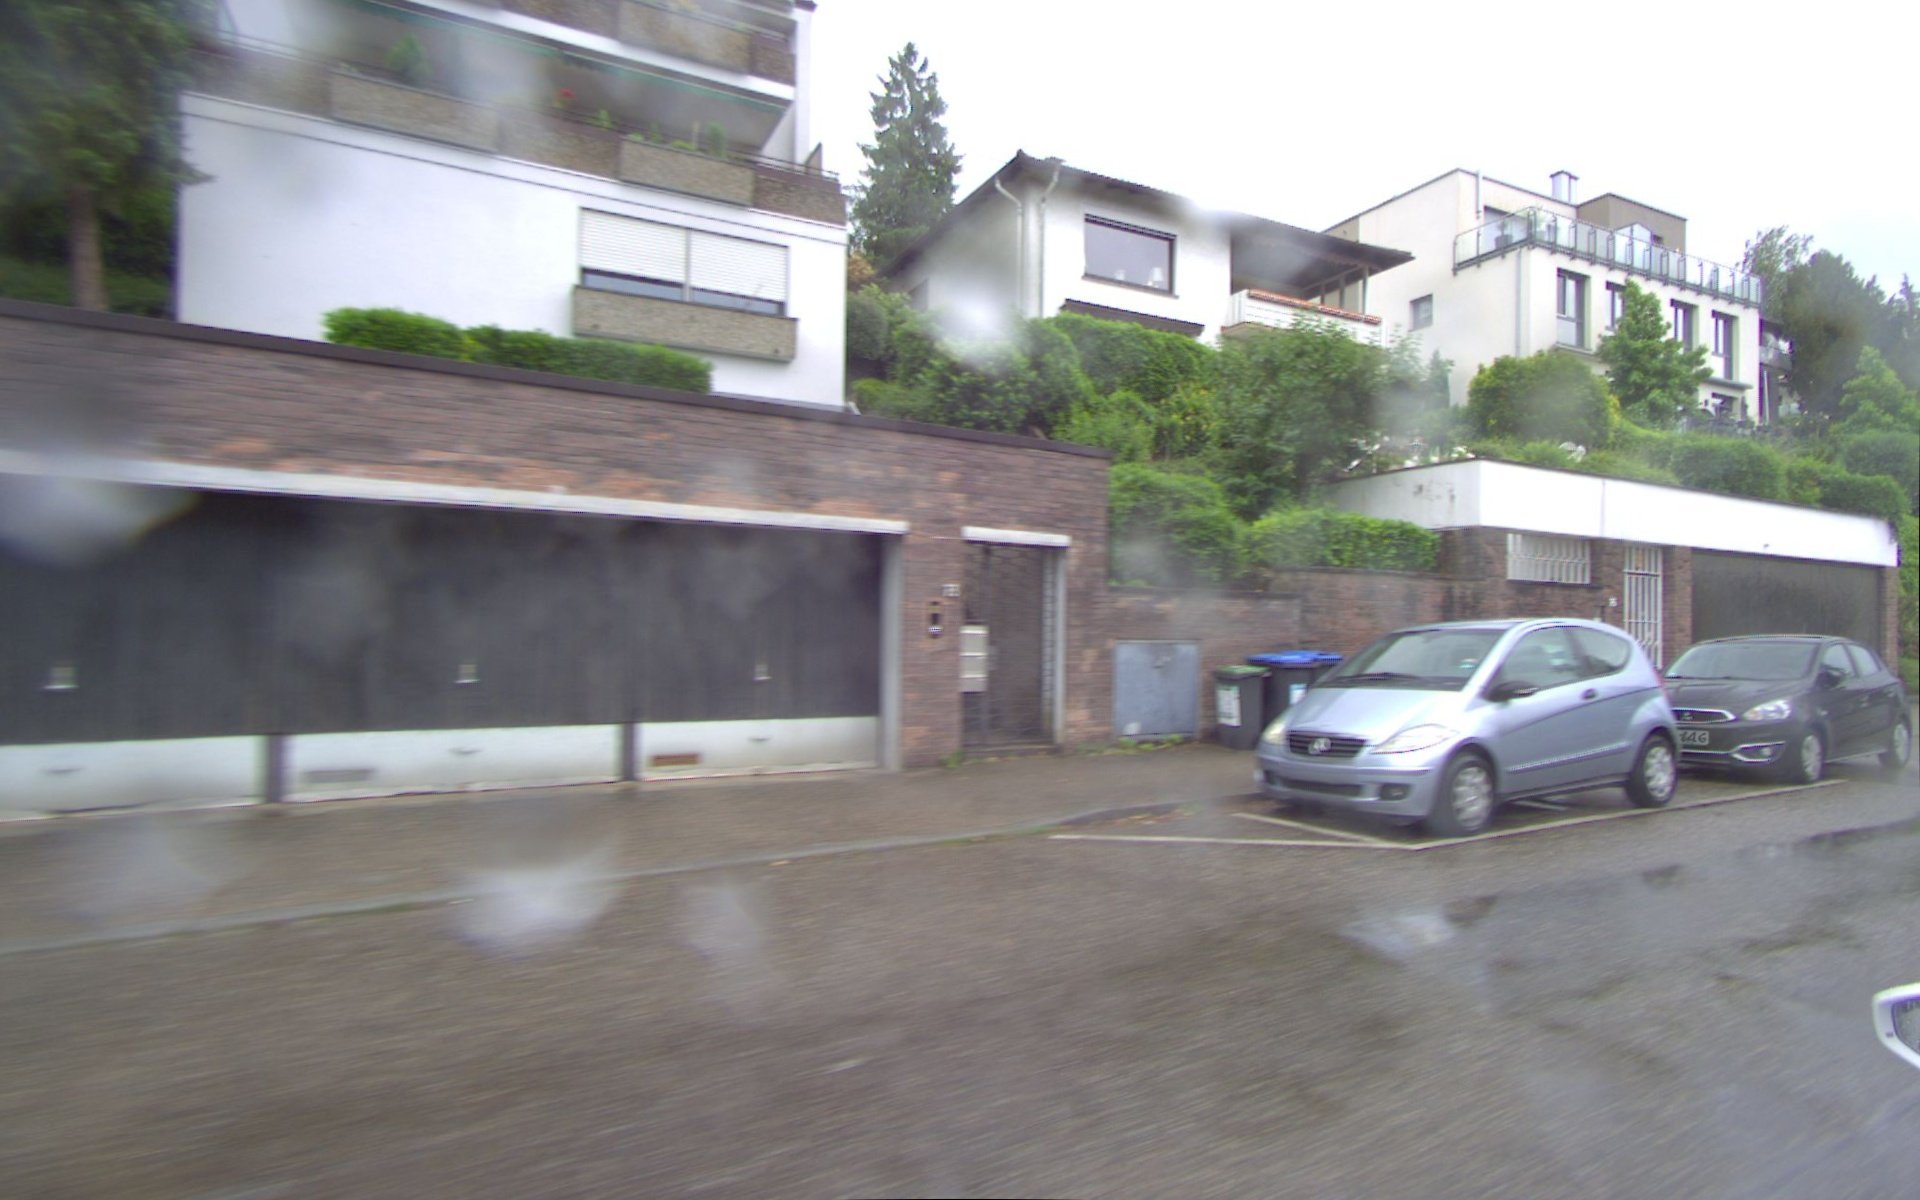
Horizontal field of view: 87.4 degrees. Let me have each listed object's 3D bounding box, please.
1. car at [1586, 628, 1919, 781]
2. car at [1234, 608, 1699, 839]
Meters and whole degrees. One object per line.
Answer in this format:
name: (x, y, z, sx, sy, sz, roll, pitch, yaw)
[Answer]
car: (8.913, 1.065, 11.190, 3.661, 1.427, 1.748, 1, -4, -30)
car: (4.329, 0.909, 8.514, 3.712, 1.559, 1.748, 1, -4, -30)
